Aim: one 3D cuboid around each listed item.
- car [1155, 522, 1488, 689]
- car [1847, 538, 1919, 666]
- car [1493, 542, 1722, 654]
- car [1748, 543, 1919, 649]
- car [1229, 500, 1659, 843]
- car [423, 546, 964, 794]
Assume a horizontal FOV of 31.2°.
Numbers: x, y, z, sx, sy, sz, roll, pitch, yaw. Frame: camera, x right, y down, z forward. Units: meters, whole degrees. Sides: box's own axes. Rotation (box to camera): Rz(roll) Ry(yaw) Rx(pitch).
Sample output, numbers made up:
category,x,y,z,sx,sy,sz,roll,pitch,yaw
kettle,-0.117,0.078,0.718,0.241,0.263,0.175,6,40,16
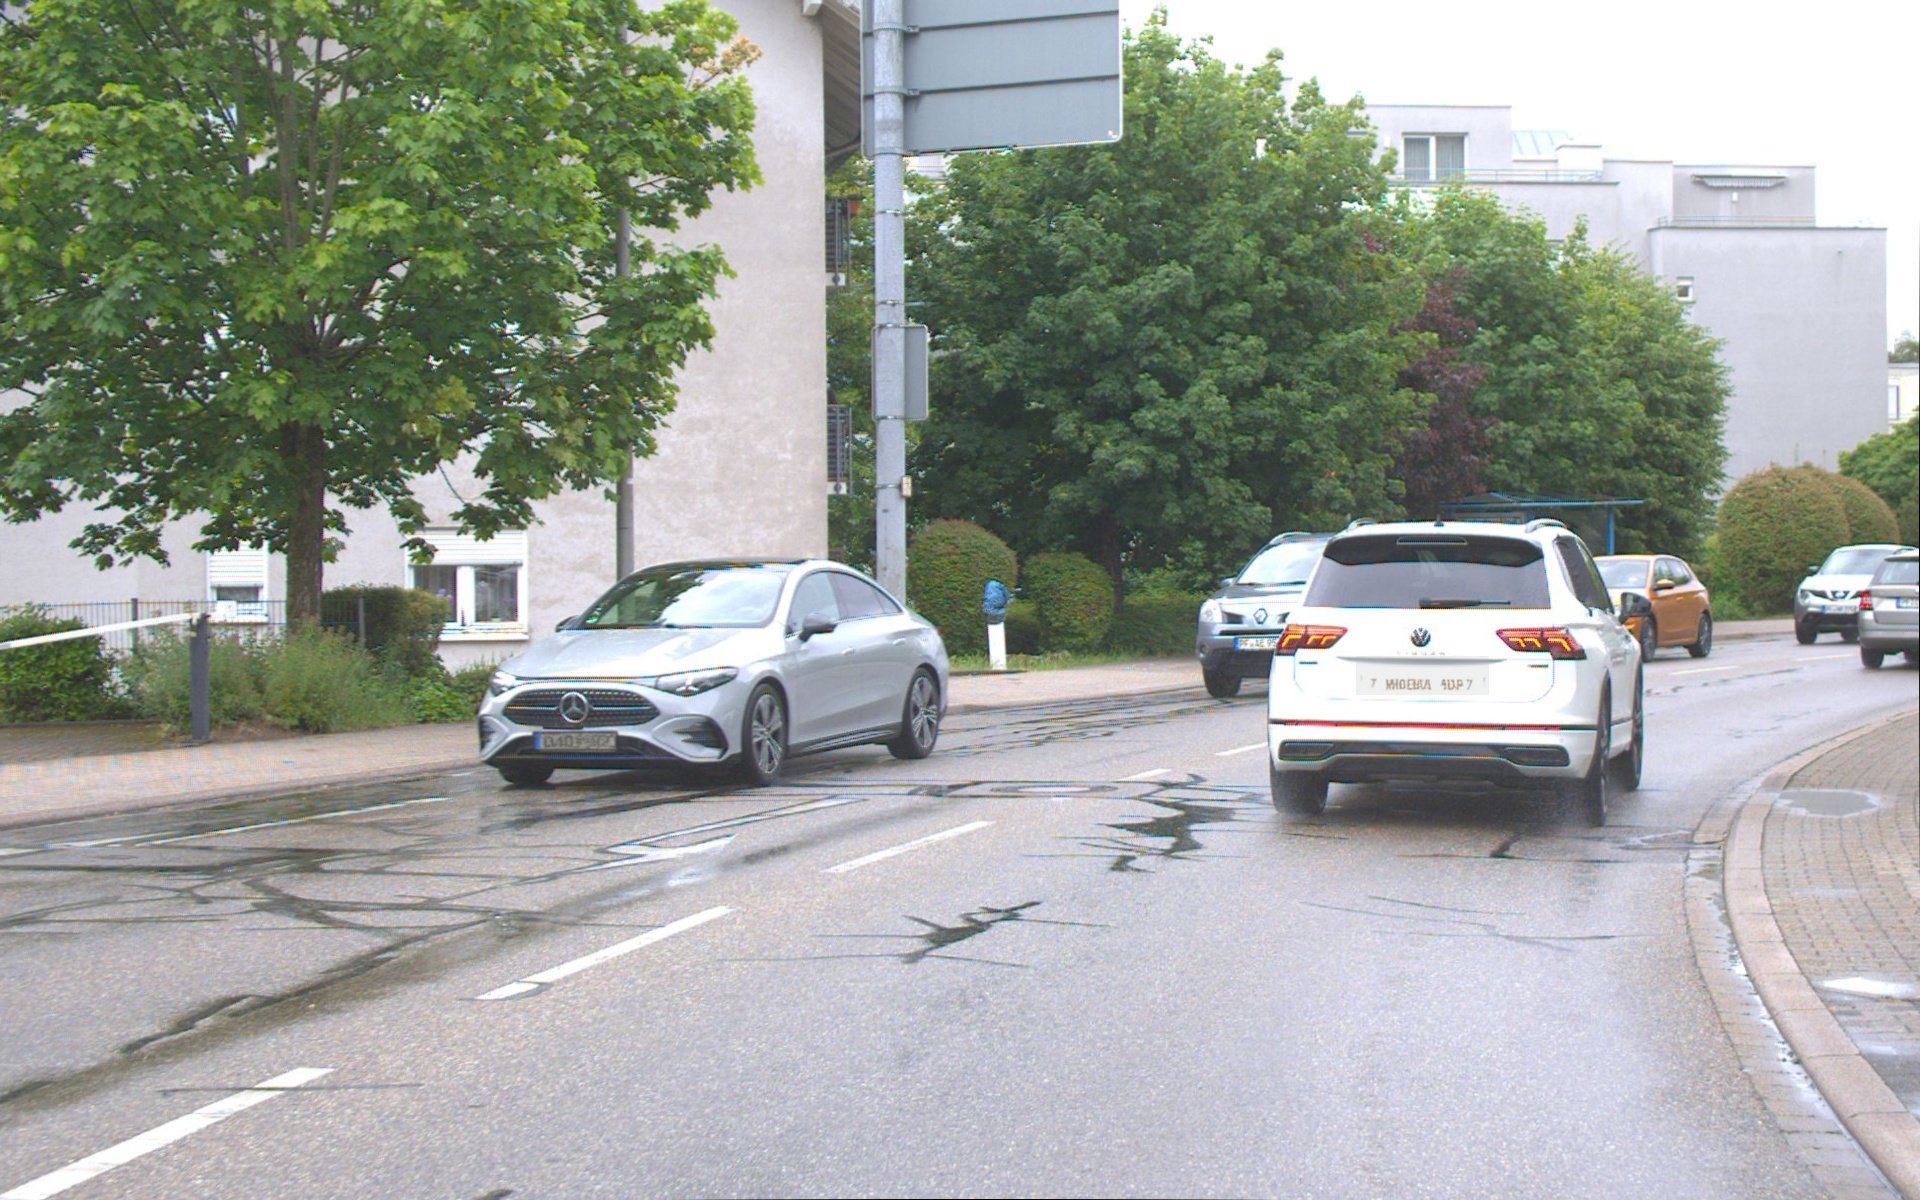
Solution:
category,x,y,z,sx,sy,sz,roll,pitch,yaw
car,3.871,0.008,36.162,1.905,1.651,4.259,0,1,30
car,12.062,0.065,42.456,1.767,1.505,3.996,0,-1,20
car,8.758,-0.054,46.250,1.904,1.434,4.109,0,1,28
car,14.245,-0.089,55.680,1.904,1.651,4.109,0,1,28
car,2.927,0.324,20.009,1.922,1.716,4.262,2,1,15
car,-1.647,0.382,23.030,1.903,1.386,4.485,1,2,20
